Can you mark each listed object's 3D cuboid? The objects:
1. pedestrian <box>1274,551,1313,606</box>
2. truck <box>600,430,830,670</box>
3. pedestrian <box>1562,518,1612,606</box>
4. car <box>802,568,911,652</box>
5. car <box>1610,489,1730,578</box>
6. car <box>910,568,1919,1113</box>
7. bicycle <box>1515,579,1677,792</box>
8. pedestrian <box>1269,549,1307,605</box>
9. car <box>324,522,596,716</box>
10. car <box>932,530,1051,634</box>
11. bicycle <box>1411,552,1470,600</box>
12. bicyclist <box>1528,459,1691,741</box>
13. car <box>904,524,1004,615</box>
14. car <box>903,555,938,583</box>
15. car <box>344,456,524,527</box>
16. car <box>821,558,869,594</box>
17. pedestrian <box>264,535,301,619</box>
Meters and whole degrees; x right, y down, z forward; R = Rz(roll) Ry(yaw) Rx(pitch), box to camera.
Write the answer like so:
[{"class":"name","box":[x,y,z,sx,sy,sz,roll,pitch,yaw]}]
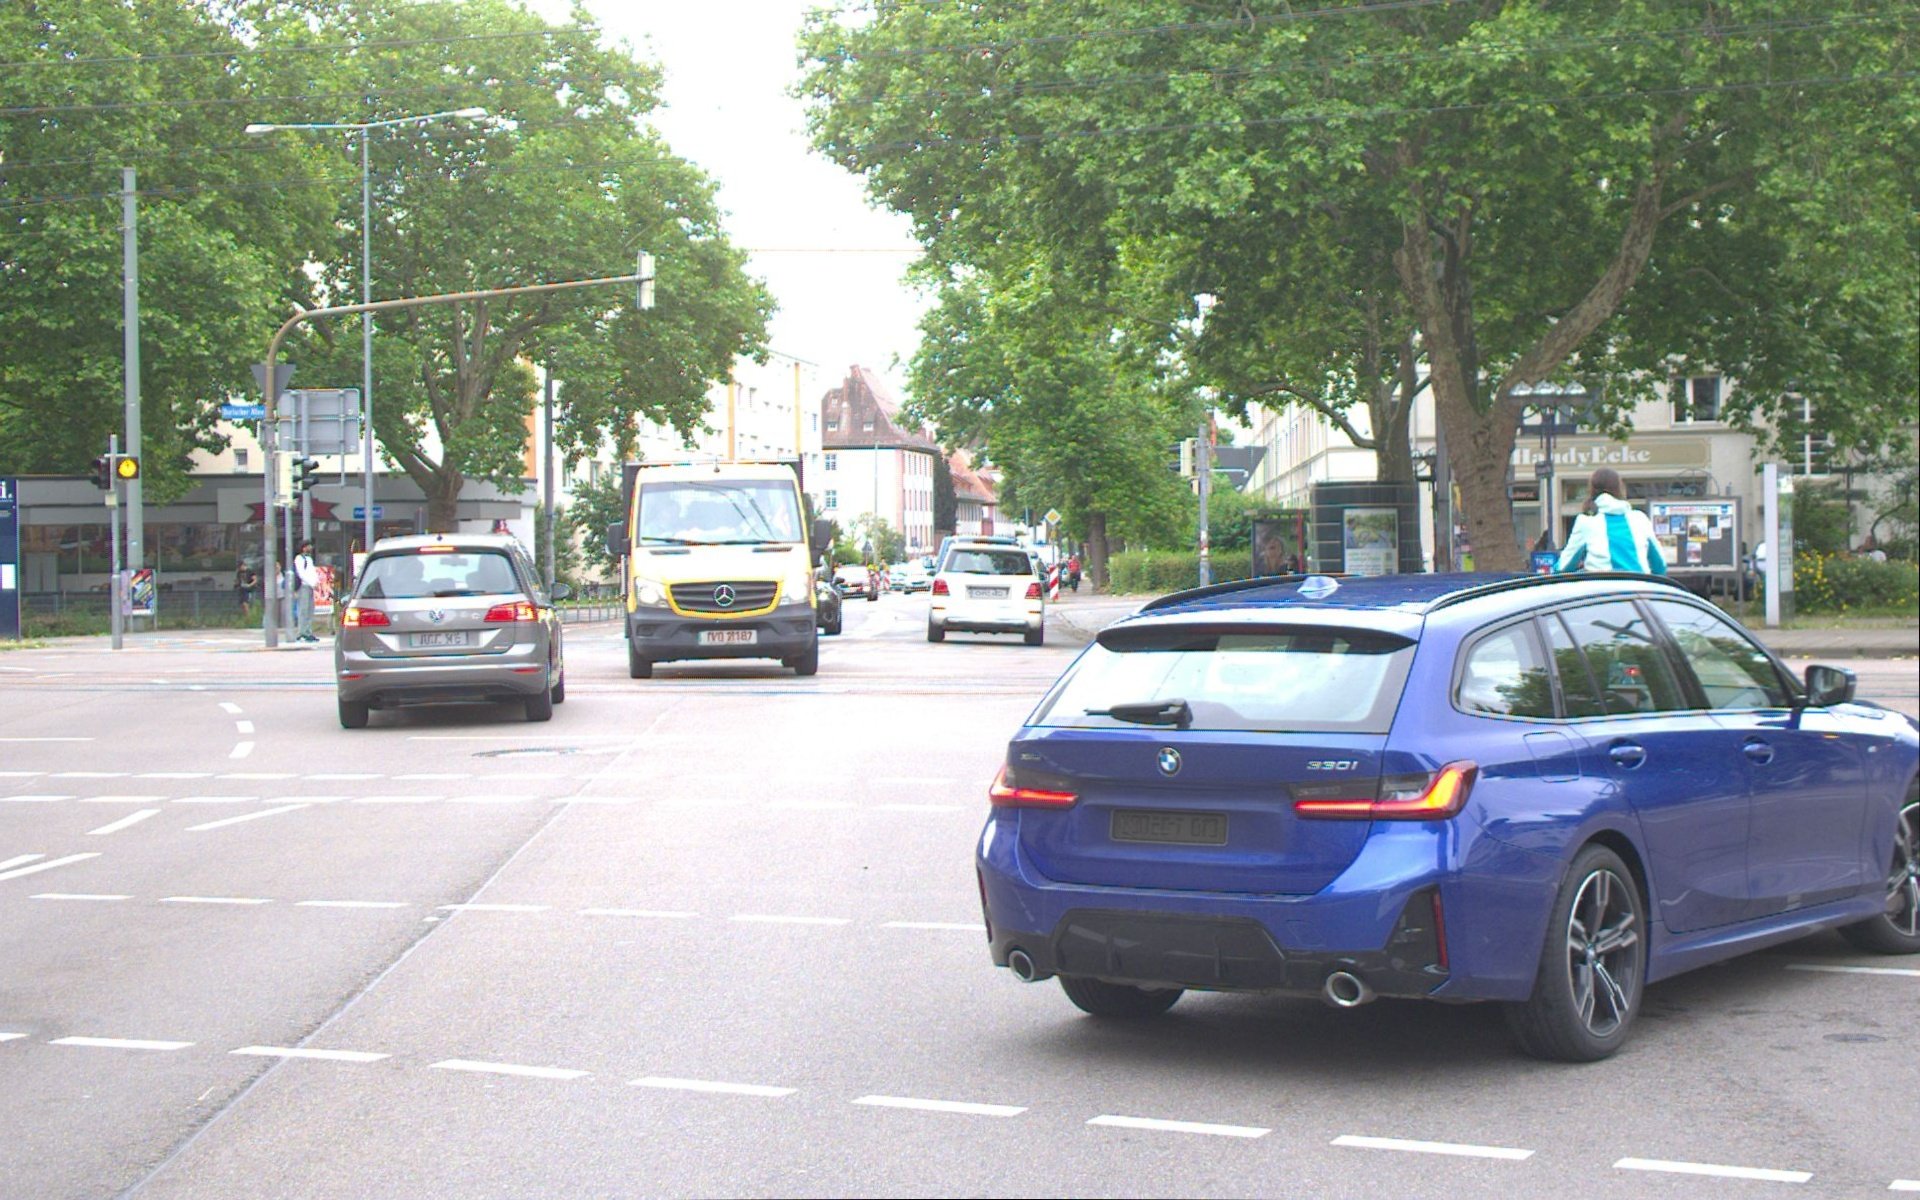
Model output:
[{"class":"pedestrian","box":[8.080,-0.524,83.193,0.853,1.310,0.762,-1,1,0]},{"class":"truck","box":[-2.779,-0.561,37.825,2.074,2.400,5.464,-2,1,-8]},{"class":"pedestrian","box":[12.447,-0.753,68.236,0.784,1.738,0.925,-1,1,-1]},{"class":"car","box":[-1.832,0.153,62.151,1.809,1.422,4.317,-1,1,0]},{"class":"car","box":[18.173,-1.686,87.874,2.177,2.193,3.995,0,1,24]},{"class":"car","box":[1.844,0.634,11.554,1.819,1.400,4.311,0,1,35]},{"class":"bicycle","box":[3.547,0.448,19.310,0.494,1.094,2.139,-1,1,0]},{"class":"pedestrian","box":[8.033,-0.565,84.202,0.817,1.367,0.762,-1,1,0]},{"class":"car","box":[-4.207,0.115,29.477,1.732,1.520,4.000,-1,1,0]},{"class":"car","box":[0.482,-0.316,55.163,1.815,1.586,4.000,-1,1,0]},{"class":"bicycle","box":[11.899,-0.602,85.049,0.779,1.164,2.330,-1,1,25]},{"class":"bicyclist","box":[3.609,-0.009,19.161,0.686,1.512,1.058,-1,1,0]},{"class":"car","box":[-0.164,-0.666,72.932,1.993,1.842,4.000,-1,1,-2]},{"class":"car","box":[-2.103,-1.658,184.572,1.767,1.481,4.000,-1,1,0]},{"class":"car","box":[-13.149,-2.682,85.930,3.986,1.700,2.000,0,0,-29]},{"class":"car","box":[-4.829,-1.022,144.368,1.853,1.448,4.167,-1,1,0]},{"class":"pedestrian","box":[-14.484,-0.489,73.482,0.574,1.779,0.620,-1,1,8]}]
